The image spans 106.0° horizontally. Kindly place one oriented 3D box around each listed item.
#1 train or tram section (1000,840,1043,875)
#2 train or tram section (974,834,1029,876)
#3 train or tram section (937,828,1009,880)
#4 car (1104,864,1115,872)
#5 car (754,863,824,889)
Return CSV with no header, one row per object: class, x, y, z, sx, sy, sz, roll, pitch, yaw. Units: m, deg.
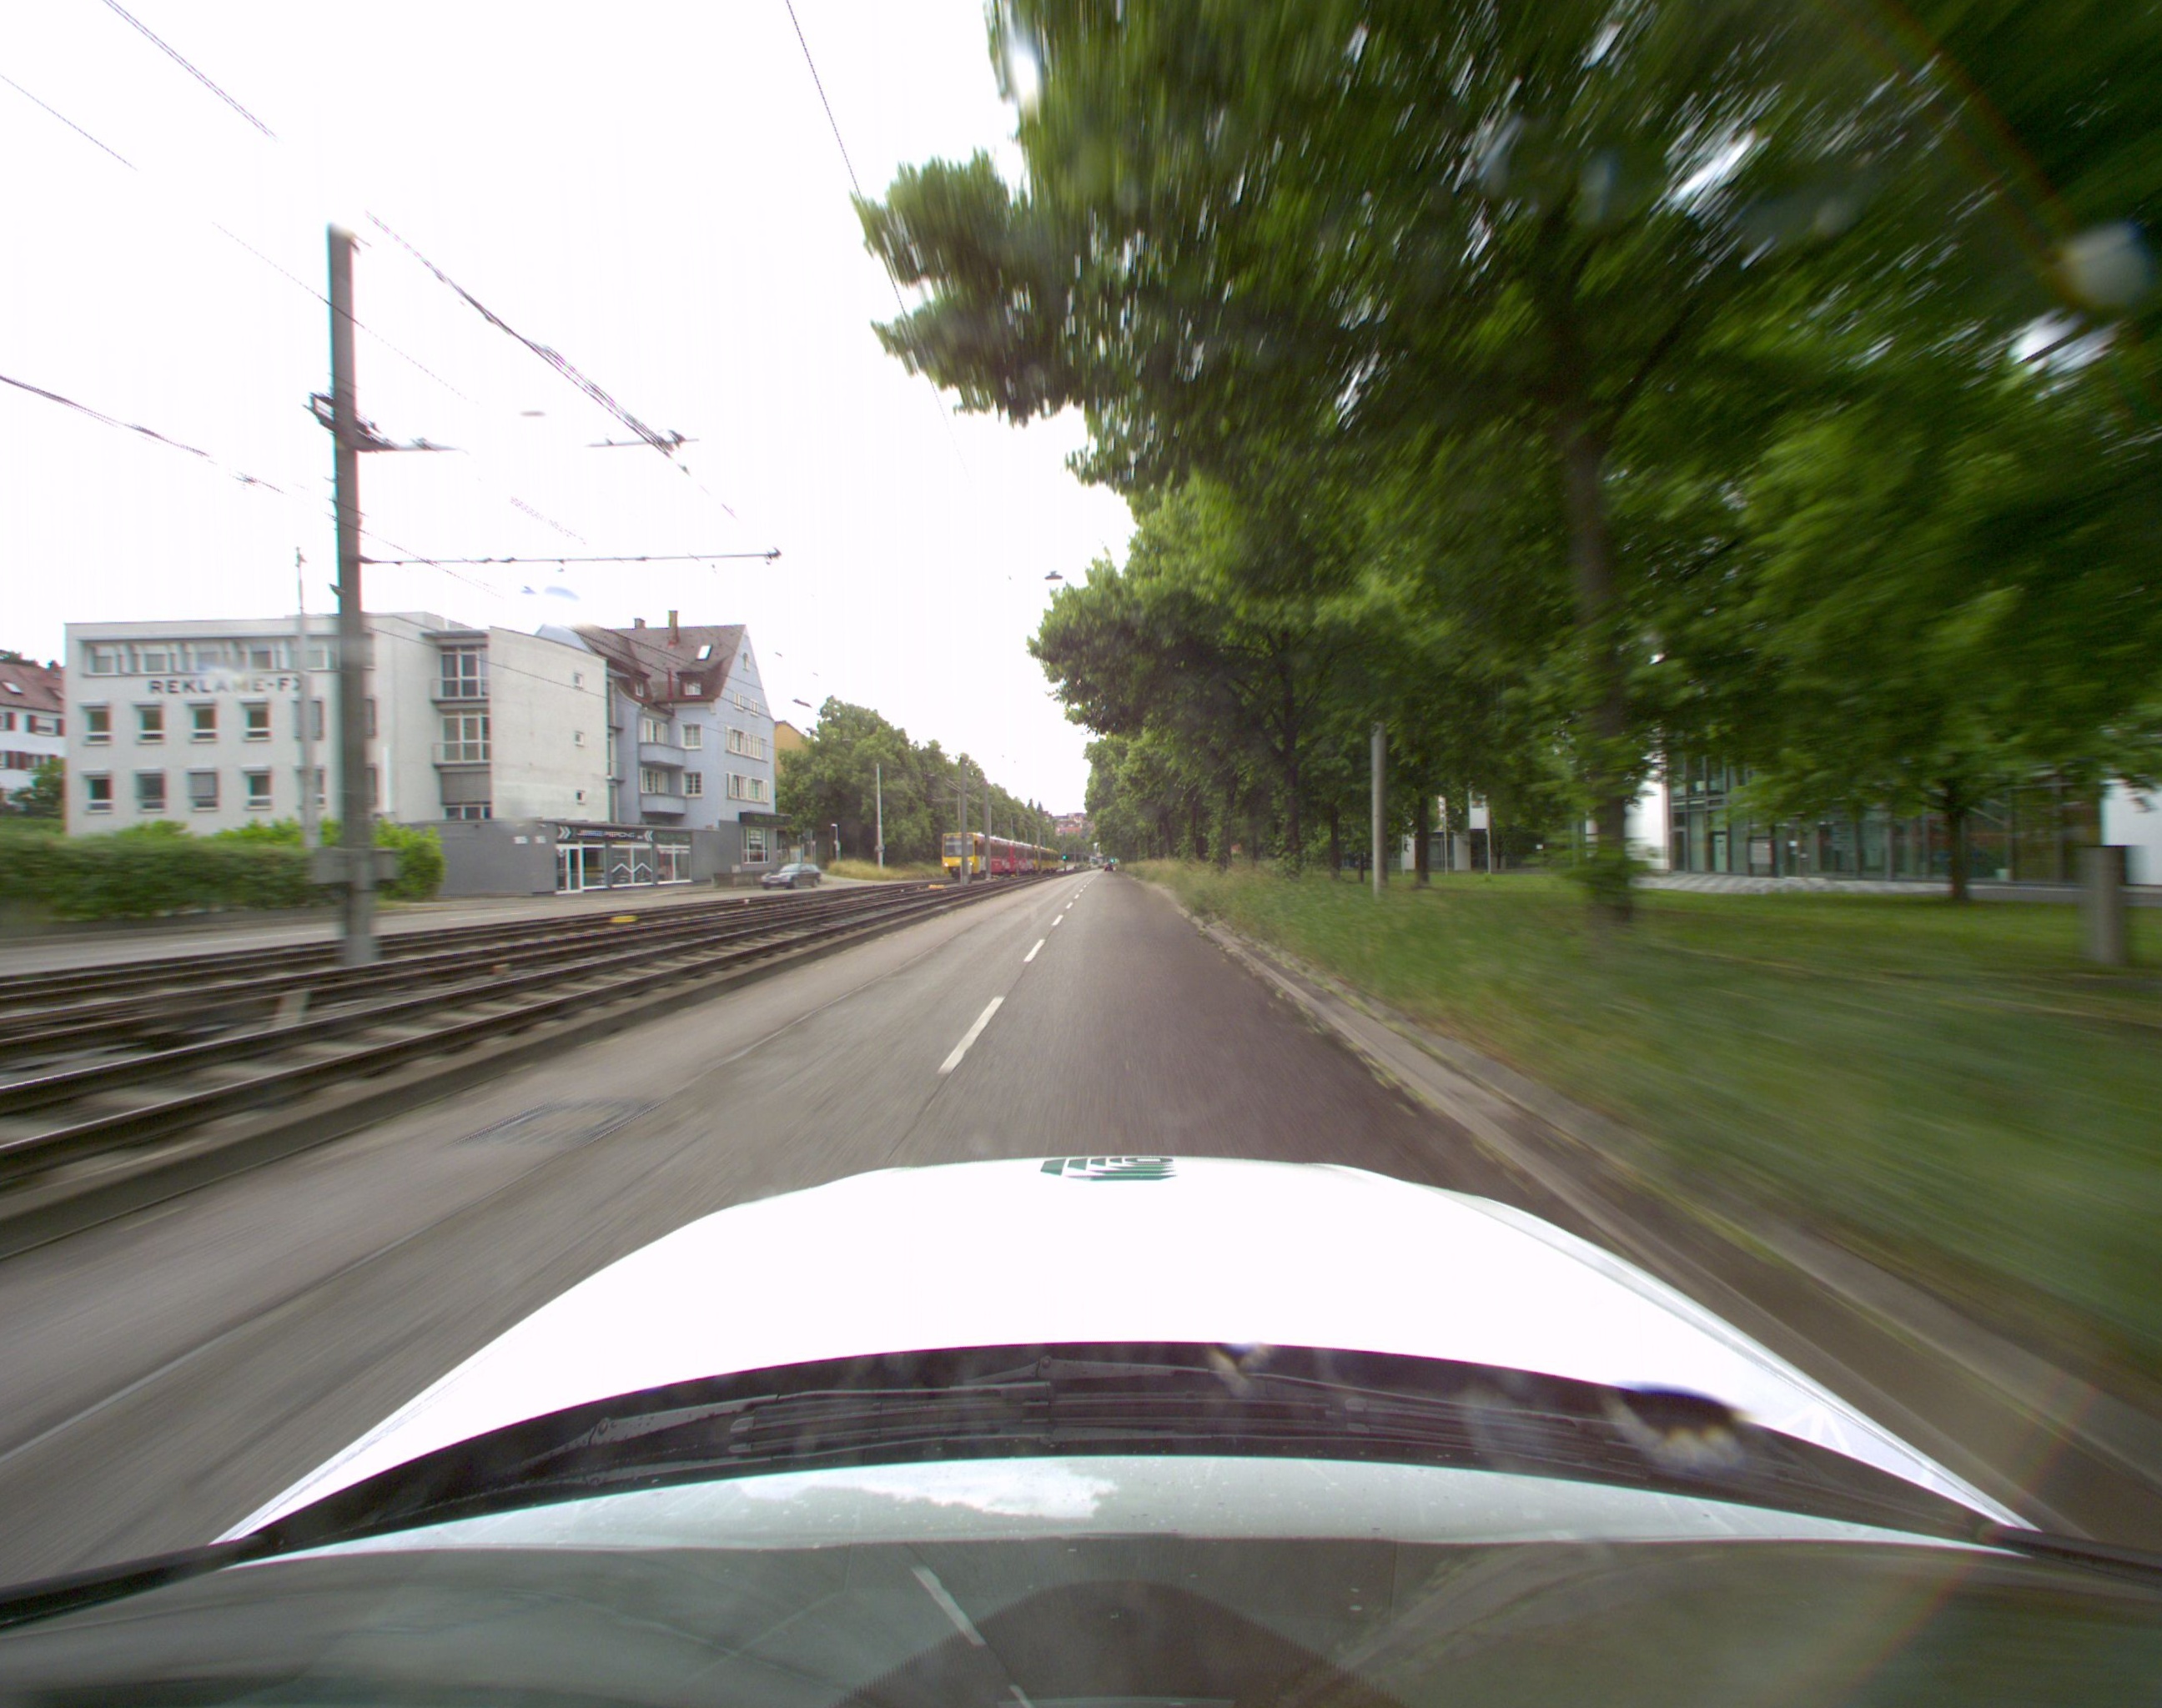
train or tram section,-6.961,0.499,97.772,3.201,3.796,14.800,-1,-1,3
train or tram section,-7.849,0.224,82.846,3.201,3.796,14.800,-1,-1,3
train or tram section,-8.678,0.116,67.990,3.201,3.796,14.800,-1,-1,3
car,5.484,2.757,157.459,1.974,1.440,4.476,-1,0,2
car,-16.226,1.219,45.501,1.894,1.325,4.829,-1,-1,3
